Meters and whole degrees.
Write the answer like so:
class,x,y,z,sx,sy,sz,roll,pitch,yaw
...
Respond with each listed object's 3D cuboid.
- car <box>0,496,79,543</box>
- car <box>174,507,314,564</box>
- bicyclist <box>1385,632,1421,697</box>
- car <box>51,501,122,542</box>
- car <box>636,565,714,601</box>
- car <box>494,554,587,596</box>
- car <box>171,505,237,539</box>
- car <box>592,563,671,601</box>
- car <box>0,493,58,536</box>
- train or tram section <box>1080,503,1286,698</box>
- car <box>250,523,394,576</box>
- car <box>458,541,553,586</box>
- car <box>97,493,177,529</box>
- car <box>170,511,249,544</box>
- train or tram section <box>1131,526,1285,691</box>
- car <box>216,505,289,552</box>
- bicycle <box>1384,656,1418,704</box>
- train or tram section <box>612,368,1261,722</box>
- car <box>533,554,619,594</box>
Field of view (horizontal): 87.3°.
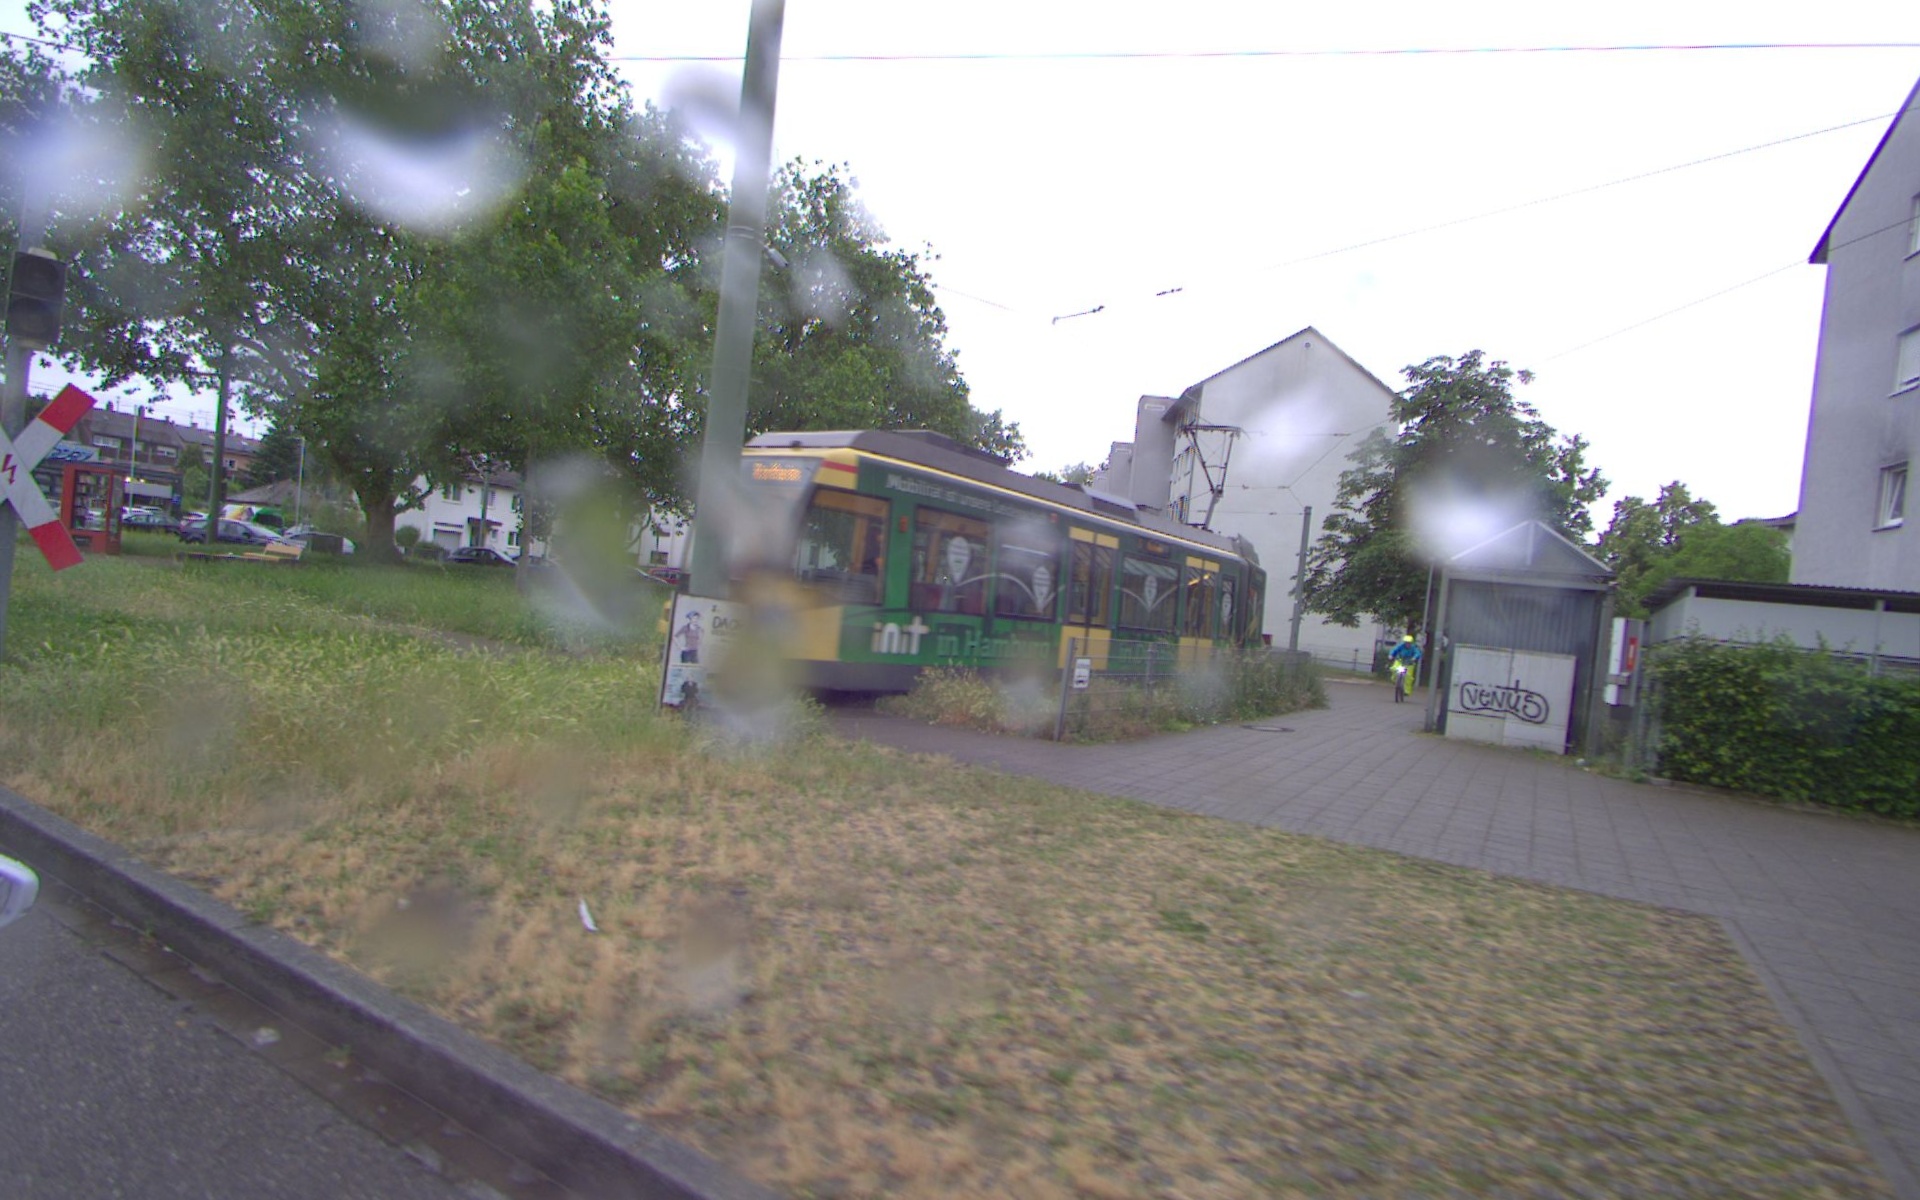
class,x,y,z,sx,sy,sz,roll,pitch,yaw
car,-44.564,-3.902,47.723,1.859,1.720,3.691,6,-2,32
car,-27.365,-2.444,38.595,3.855,1.513,1.806,8,-2,-15
bicyclist,10.929,1.595,24.809,0.626,1.491,1.108,6,-2,26
car,-48.095,-4.318,55.398,3.939,1.811,1.995,6,-2,36
car,-16.558,-0.962,58.482,3.842,1.513,1.812,7,-2,3
car,-20.779,-1.214,49.970,3.855,1.513,1.806,8,-2,-15
car,-59.990,-6.199,79.828,3.924,2.037,2.002,7,-2,14
car,-18.051,-0.982,55.431,3.855,1.513,1.806,8,-2,-15
car,-52.685,-4.871,55.379,1.966,1.973,3.996,6,-2,30
train or tram section,4.999,0.085,21.912,2.723,3.597,4.979,6,0,30
car,-23.167,-1.816,36.627,1.819,1.300,3.987,5,-3,39
car,-21.416,-1.680,47.499,3.868,1.513,1.800,8,-2,-25
car,-59.139,-6.394,72.344,1.969,1.811,3.991,6,-2,35
car,-53.374,-5.160,71.635,1.816,1.658,3.994,6,-2,32
train or tram section,6.839,0.317,29.682,2.716,3.597,12.208,6,0,8
car,-44.608,-4.499,63.385,4.281,2.471,1.997,6,-2,31
bicycle,10.932,1.974,24.902,0.589,1.080,2.030,6,0,26
train or tram section,1.021,-0.302,16.278,2.728,3.598,13.079,6,1,37
car,-19.930,-1.341,52.404,3.855,1.513,1.806,8,-2,-15
